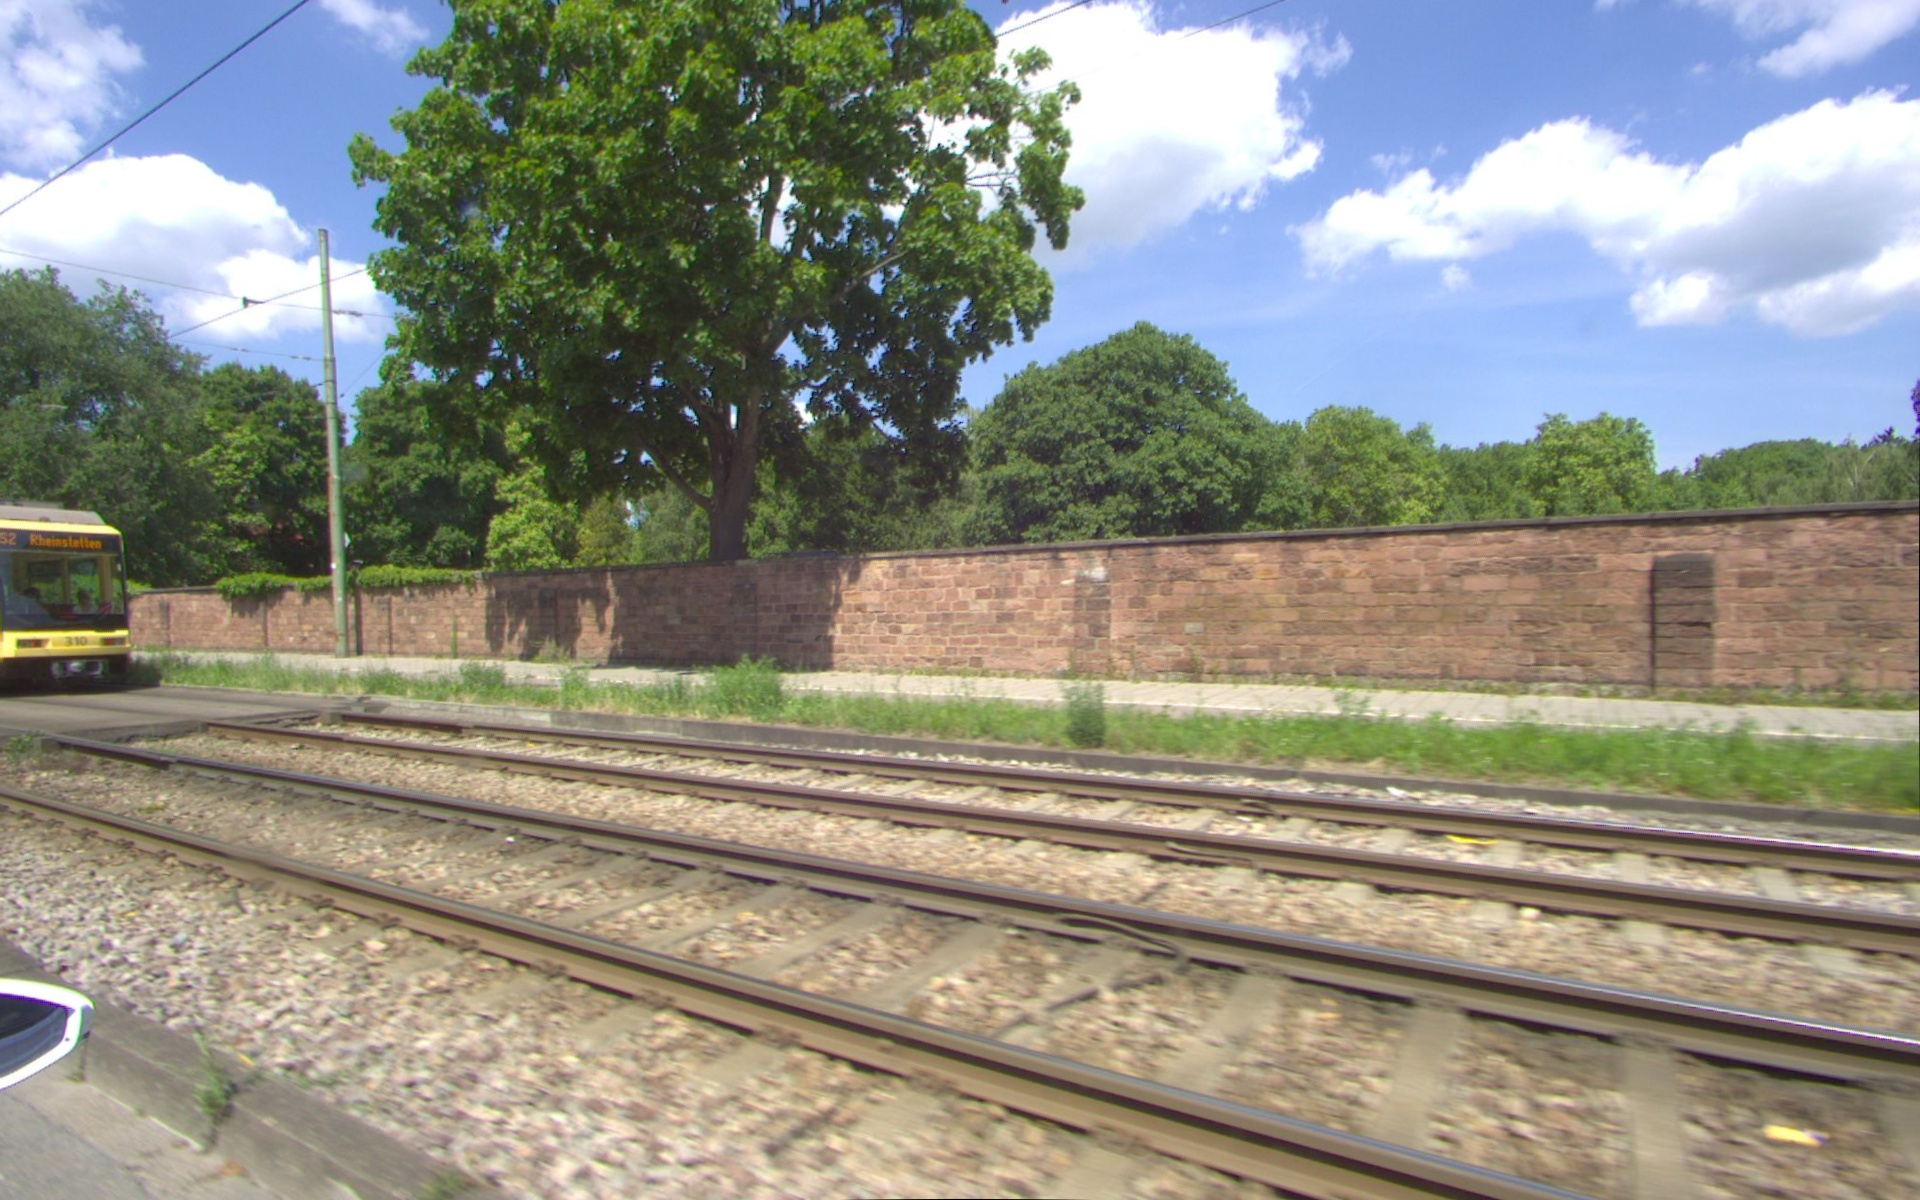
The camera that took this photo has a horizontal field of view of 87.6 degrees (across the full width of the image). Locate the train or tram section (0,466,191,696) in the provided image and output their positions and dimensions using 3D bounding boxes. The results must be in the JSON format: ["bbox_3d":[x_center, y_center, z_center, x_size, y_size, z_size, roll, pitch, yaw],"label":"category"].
[{"bbox_3d":[-23.054,-0.250,21.599,18.099,3.740,2.942,0,-1,28],"label":"train or tram section"}]
